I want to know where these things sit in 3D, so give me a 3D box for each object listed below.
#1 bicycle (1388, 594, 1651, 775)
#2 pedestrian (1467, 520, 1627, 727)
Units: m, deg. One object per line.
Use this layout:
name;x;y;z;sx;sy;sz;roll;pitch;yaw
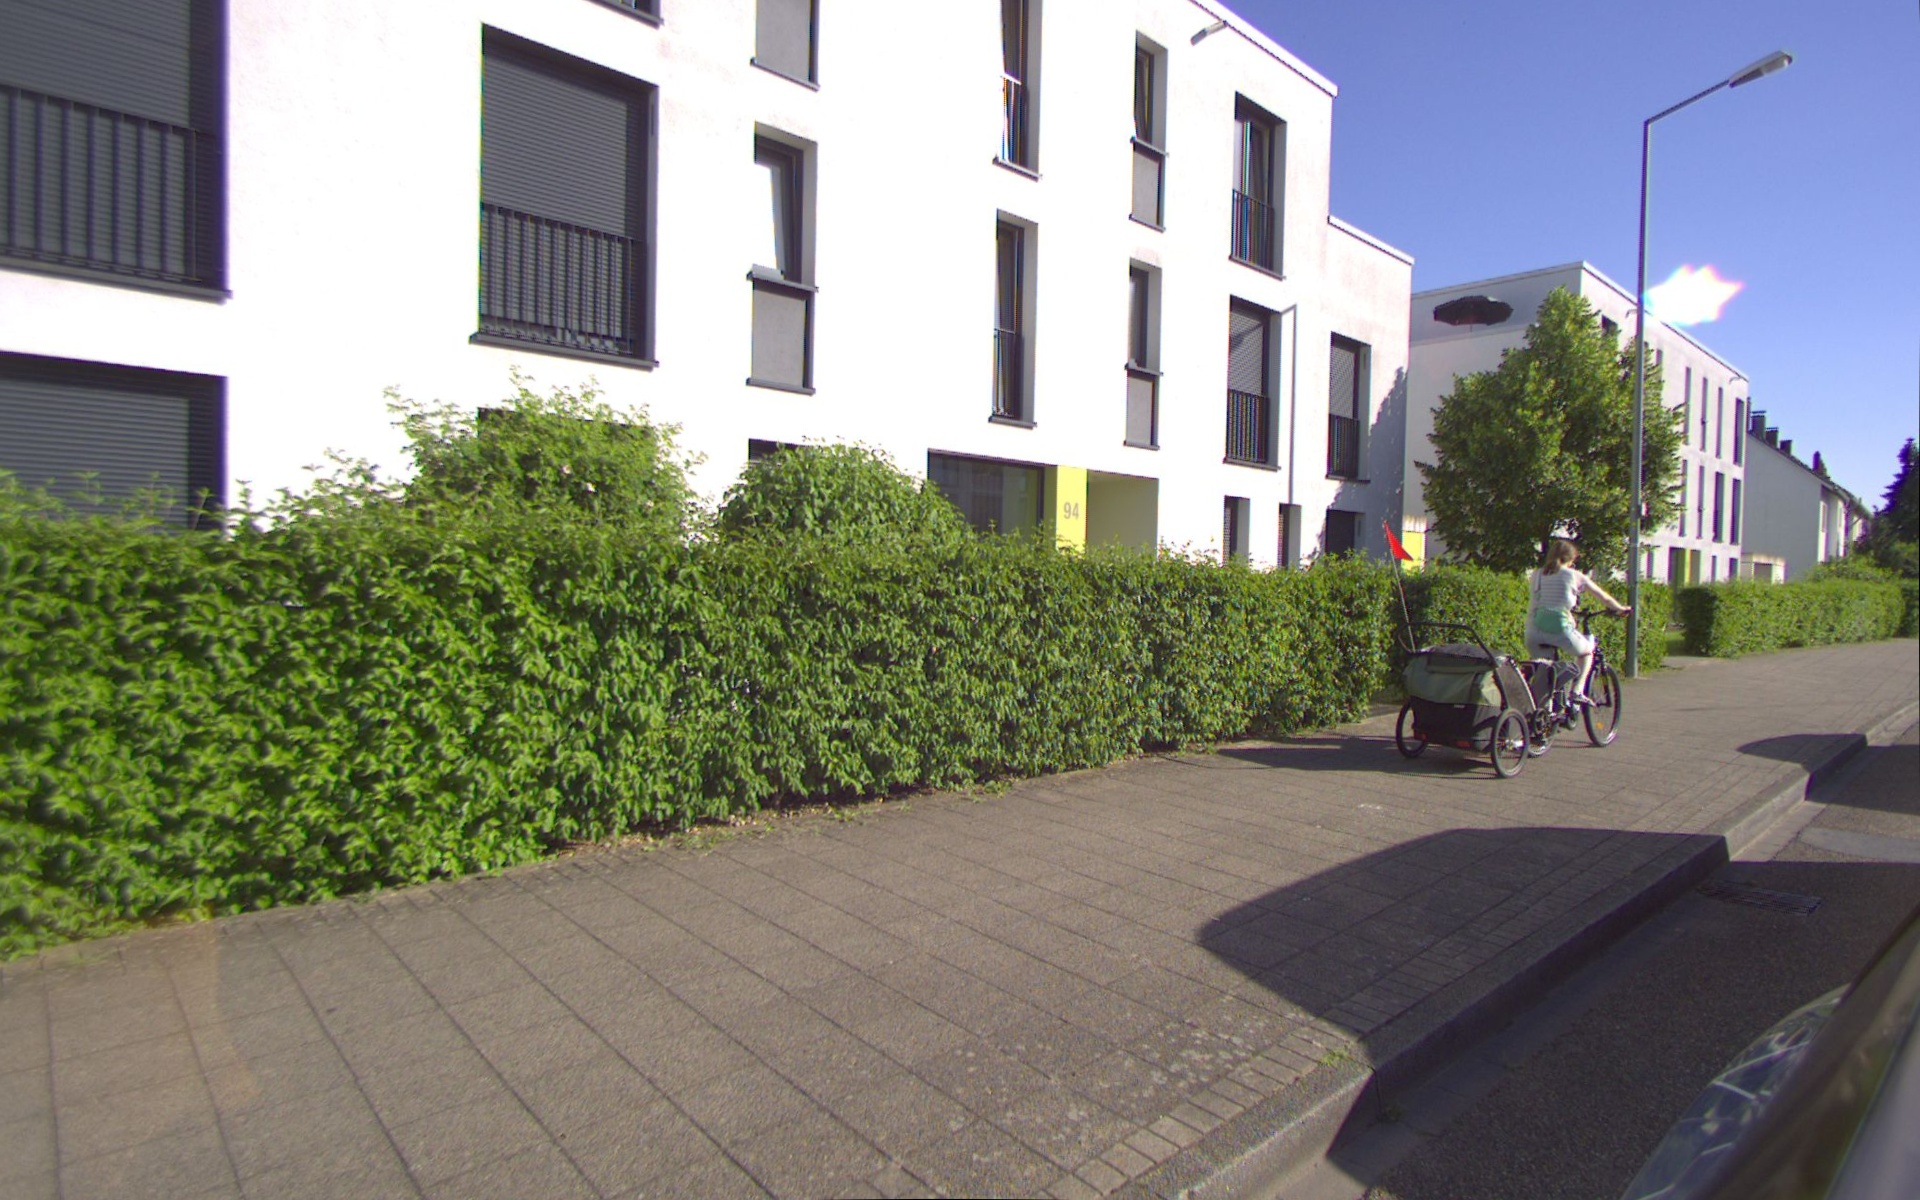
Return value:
bicycle;4.657;0.567;8.268;3.072;1.187;0.930;-1;3;-43
pedestrian;4.921;0.161;8.490;0.840;1.613;0.912;0;2;-43
